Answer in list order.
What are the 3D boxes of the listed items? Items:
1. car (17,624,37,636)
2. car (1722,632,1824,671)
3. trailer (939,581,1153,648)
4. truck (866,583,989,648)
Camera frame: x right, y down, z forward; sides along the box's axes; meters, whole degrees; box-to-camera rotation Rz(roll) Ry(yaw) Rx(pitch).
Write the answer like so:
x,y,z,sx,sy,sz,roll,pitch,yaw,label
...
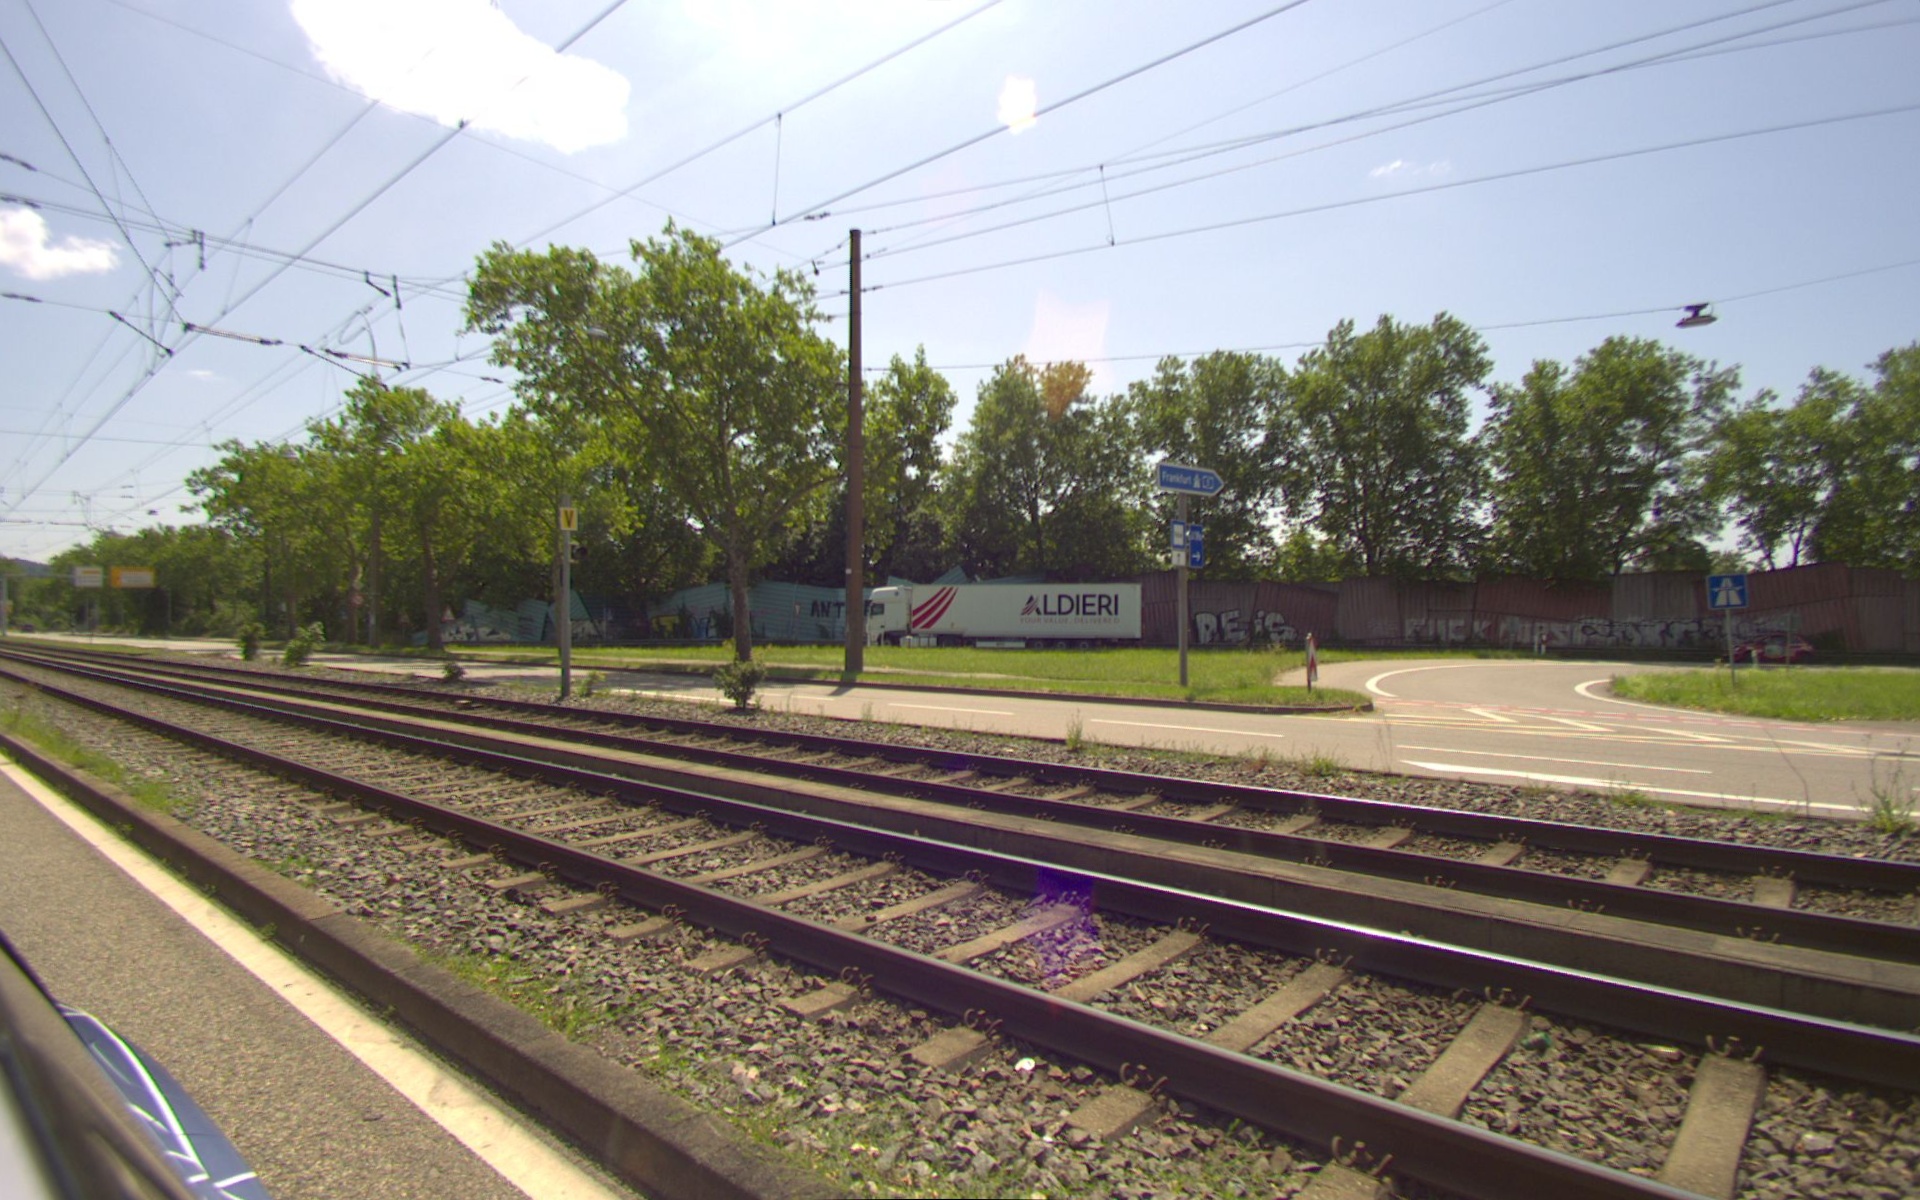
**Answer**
x,y,z,sx,sy,sz,roll,pitch,yaw,label
-154.667,4.974,167.770,3.998,1.807,1.973,-1,0,41,car
38.481,2.414,47.971,3.369,1.805,1.556,-1,-2,17,car
4.987,0.898,58.710,12.001,3.683,3.370,-1,-2,16,trailer
-1.898,0.958,60.738,6.698,3.730,3.401,-1,-2,16,truck
